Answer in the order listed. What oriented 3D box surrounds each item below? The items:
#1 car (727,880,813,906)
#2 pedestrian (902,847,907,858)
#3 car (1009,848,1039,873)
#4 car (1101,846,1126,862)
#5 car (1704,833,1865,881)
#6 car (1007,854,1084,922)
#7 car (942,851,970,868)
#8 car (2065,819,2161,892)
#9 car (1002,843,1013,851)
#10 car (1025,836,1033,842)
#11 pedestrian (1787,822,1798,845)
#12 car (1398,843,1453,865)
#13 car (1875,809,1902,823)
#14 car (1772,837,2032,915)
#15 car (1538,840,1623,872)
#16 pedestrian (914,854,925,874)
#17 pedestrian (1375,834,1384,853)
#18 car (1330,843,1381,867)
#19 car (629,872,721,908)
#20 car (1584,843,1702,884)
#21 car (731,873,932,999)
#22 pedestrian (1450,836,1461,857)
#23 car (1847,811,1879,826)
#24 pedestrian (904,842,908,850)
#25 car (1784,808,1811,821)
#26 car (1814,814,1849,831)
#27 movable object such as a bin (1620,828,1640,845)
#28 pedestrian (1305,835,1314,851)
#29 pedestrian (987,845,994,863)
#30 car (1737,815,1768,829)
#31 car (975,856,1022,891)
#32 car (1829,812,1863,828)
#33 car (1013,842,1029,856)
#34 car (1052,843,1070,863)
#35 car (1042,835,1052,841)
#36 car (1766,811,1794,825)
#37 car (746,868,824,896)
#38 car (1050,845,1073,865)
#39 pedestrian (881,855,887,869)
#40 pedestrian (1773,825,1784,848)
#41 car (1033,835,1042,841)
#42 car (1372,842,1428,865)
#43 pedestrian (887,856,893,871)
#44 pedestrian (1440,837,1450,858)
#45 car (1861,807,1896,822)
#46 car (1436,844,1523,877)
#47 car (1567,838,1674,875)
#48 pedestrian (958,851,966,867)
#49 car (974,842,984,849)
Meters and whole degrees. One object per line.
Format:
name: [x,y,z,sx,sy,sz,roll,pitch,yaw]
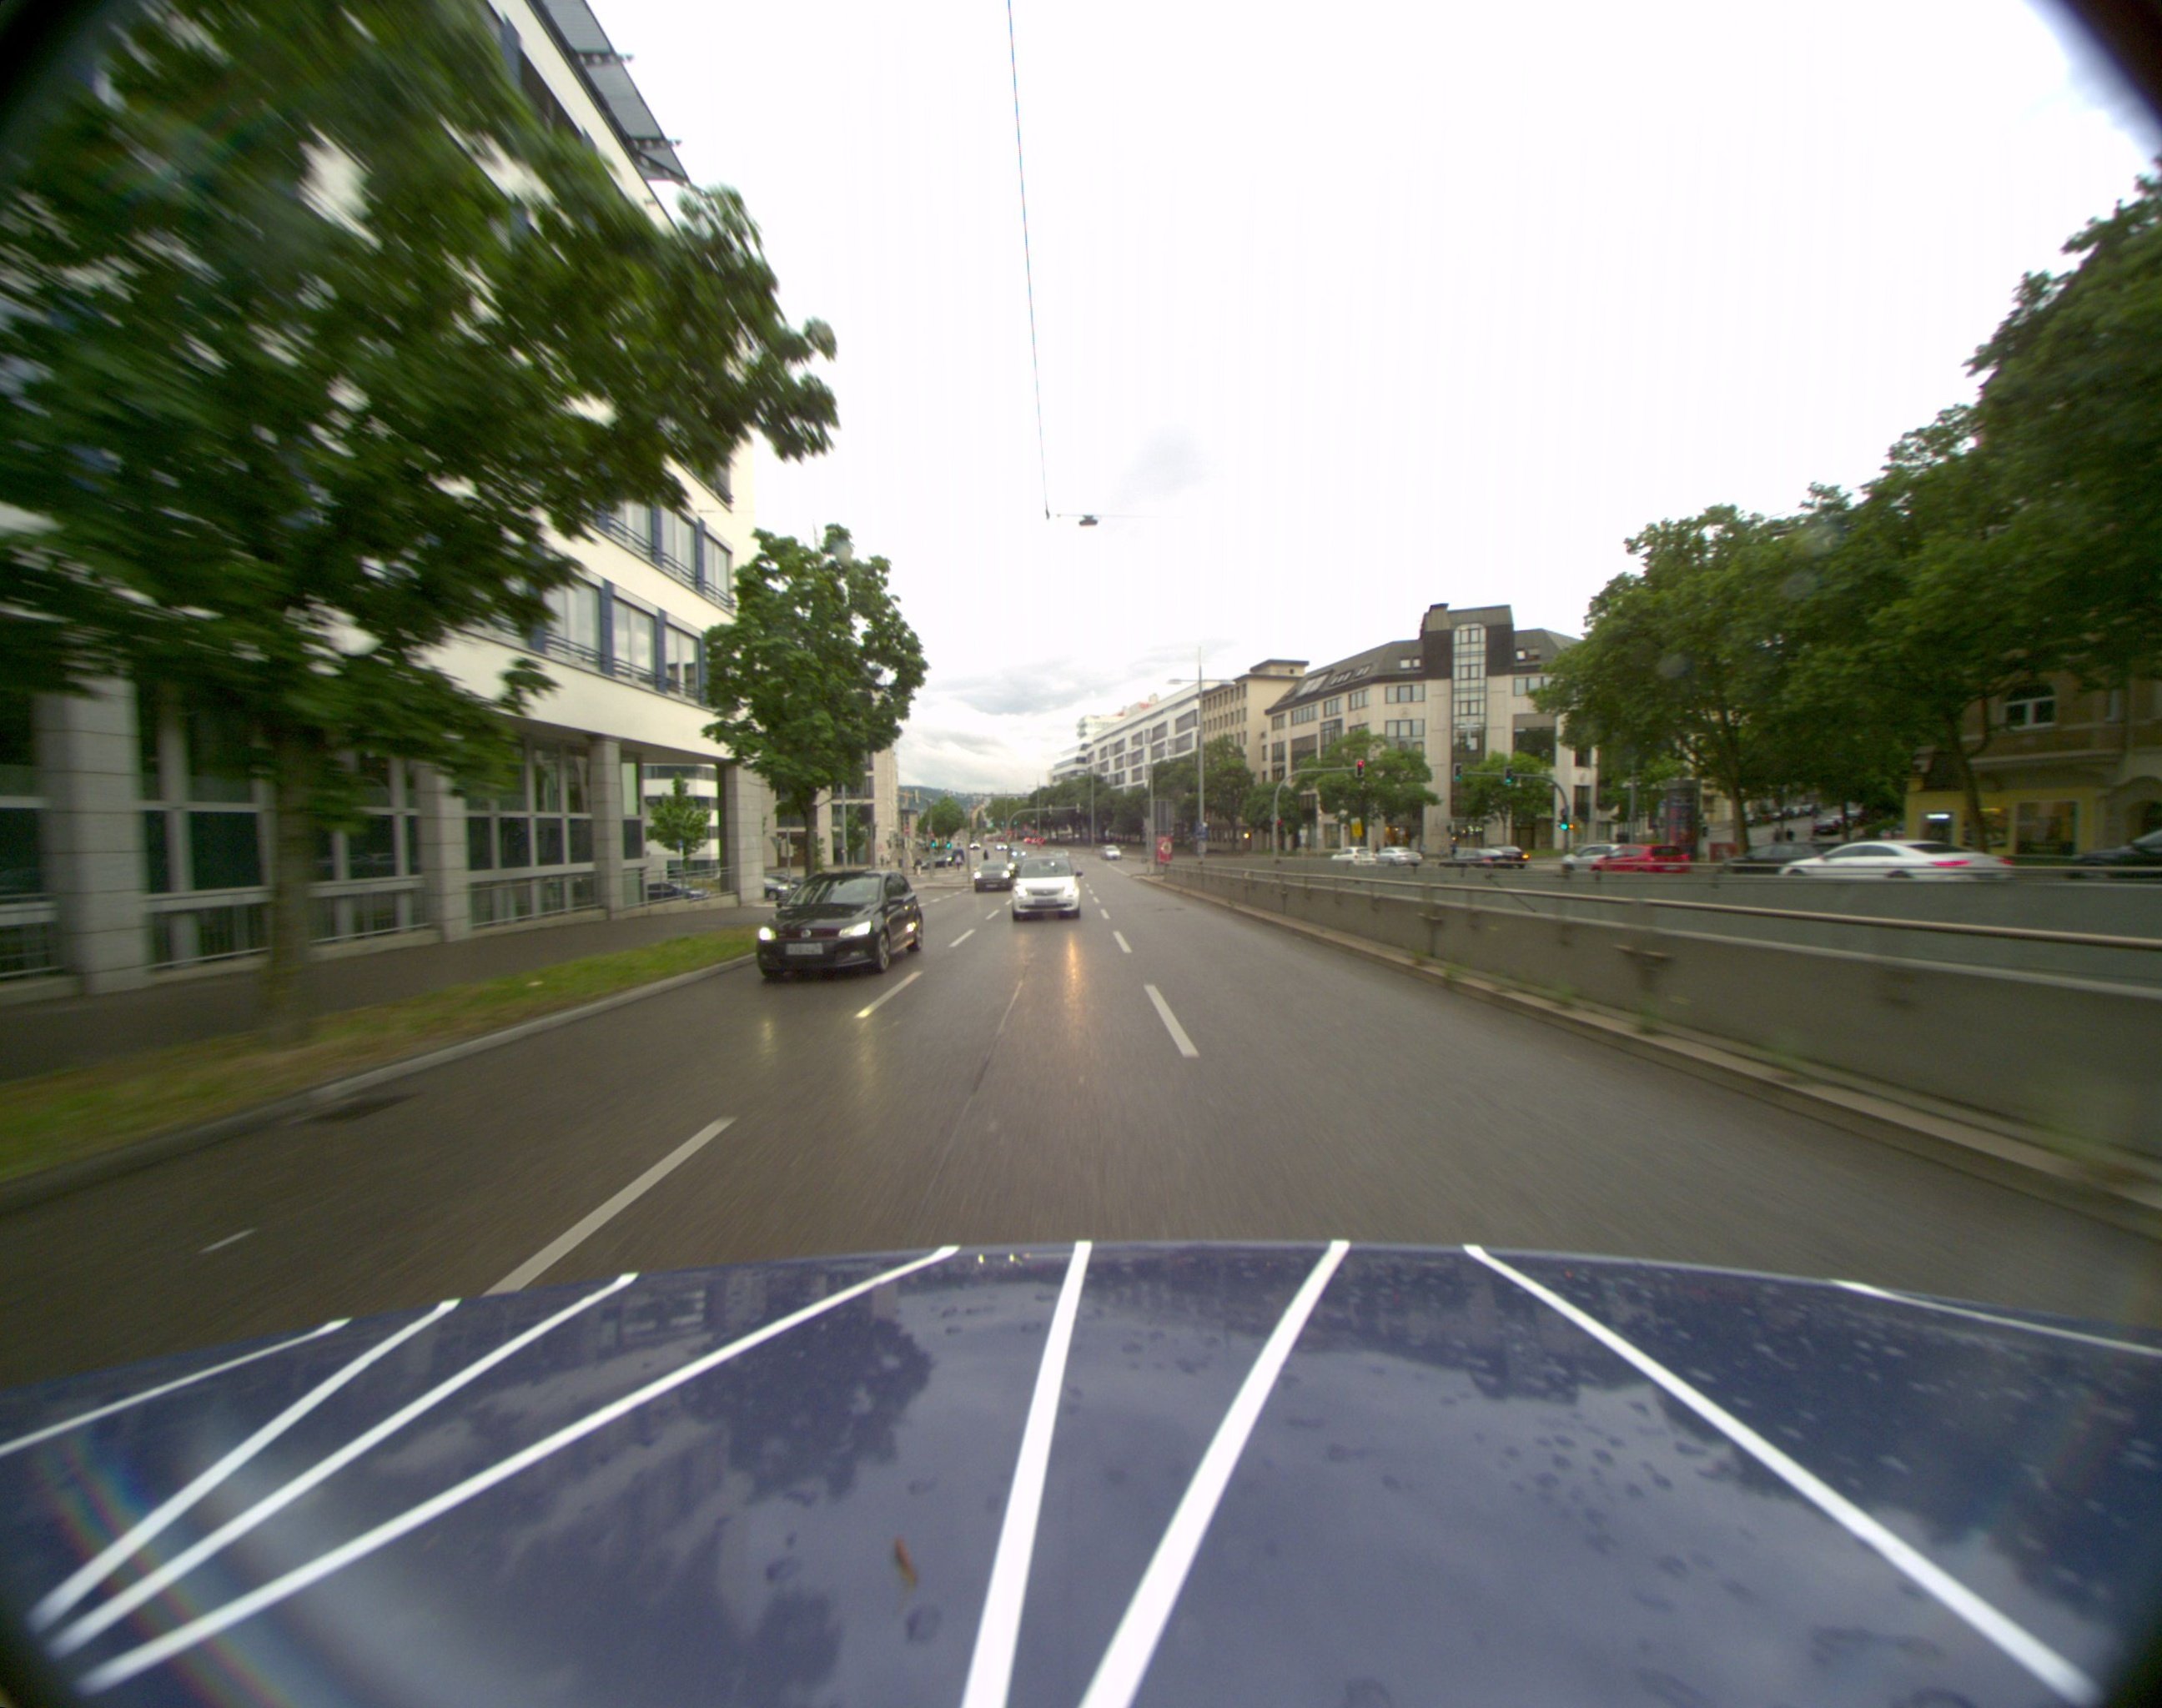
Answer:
car: [-18.590,2.339,45.409,4.477,1.382,1.858,-1,2,15]
pedestrian: [-24.283,-0.244,104.580,0.588,1.469,0.603,-3,2,-22]
car: [-4.232,0.462,56.967,1.798,1.657,3.999,-3,1,1]
car: [3.745,0.005,88.180,1.800,1.733,3.995,-3,1,-13]
car: [24.176,0.066,26.343,1.799,1.502,3.998,-2,1,-3]
car: [-0.845,0.810,20.051,1.799,1.528,3.999,-1,1,0]
car: [-14.771,0.605,90.274,1.797,1.851,4.294,-2,1,11]
car: [24.151,0.000,15.947,1.798,1.570,4.017,-2,0,1]
car: [-14.875,-1.492,153.489,1.800,1.502,3.995,-3,1,-13]
car: [-15.639,-4.525,226.808,1.800,1.502,3.995,-3,1,-13]
pedestrian: [56.759,-1.601,60.620,0.632,1.799,0.675,-1,2,42]
car: [24.792,-0.032,54.829,1.800,1.502,3.996,0,1,-8]
car: [92.238,-4.367,86.823,3.497,1.454,1.606,-3,2,-35]
car: [21.090,0.459,19.900,1.798,1.760,4.731,-1,1,2]
car: [26.657,0.066,40.705,1.799,1.502,3.941,-3,1,-3]
pedestrian: [-12.986,0.800,61.064,0.707,1.615,0.644,-2,2,1]
pedestrian: [29.729,-1.044,75.757,0.604,1.774,0.525,-3,2,-8]
car: [19.170,0.027,53.307,1.799,1.552,3.997,-2,1,-6]
car: [-25.112,2.214,47.102,4.482,1.660,1.855,-4,5,1]
car: [21.138,0.315,28.766,1.588,1.393,3.879,-1,1,0]
car: [-3.520,1.084,11.506,1.678,1.392,3.848,-2,1,1]
pedestrian: [32.390,-0.638,65.691,0.590,1.799,0.674,-2,2,6]
car: [82.472,-3.785,80.116,3.497,1.454,1.606,-3,2,-32]
pedestrian: [-32.208,-1.447,139.744,0.588,1.469,0.603,-3,2,-13]
car: [91.093,-5.077,96.599,4.006,1.502,1.795,-4,2,-36]
car: [71.321,-3.025,72.166,3.497,1.454,1.606,-3,2,-32]
movable object such as a bin: [50.997,-1.635,70.642,1.352,1.499,1.071,-1,1,29]
pedestrian: [26.255,-1.276,87.281,0.835,1.774,0.615,-3,2,-8]
pedestrian: [-9.688,-0.005,81.105,0.604,1.792,0.587,-3,2,-8]
car: [77.264,-3.673,87.381,4.006,1.502,1.795,-4,2,-36]
car: [-3.938,0.903,36.727,1.751,1.433,3.706,-3,1,1]
car: [75.613,-3.372,75.084,3.497,1.454,1.606,-3,2,-32]
car: [-8.743,-0.734,109.814,1.800,1.934,3.995,-3,1,-11]
car: [-2.230,-0.150,85.018,1.799,2.021,3.999,-3,1,-1]
car: [-9.208,-4.284,205.494,1.800,1.502,3.995,-3,1,-13]
car: [86.014,-4.401,93.483,4.006,1.502,1.795,-4,2,-36]
car: [-20.145,1.894,51.816,4.483,1.383,1.855,-5,3,-3]
car: [-1.698,0.077,67.453,1.798,1.657,3.999,-3,1,1]
pedestrian: [-22.779,0.881,87.905,0.588,1.600,0.603,-3,2,-14]
pedestrian: [56.187,-1.379,61.194,0.632,1.799,0.675,-1,2,42]
car: [-12.254,-4.401,212.008,1.800,1.502,3.995,-3,1,-13]
car: [22.264,-0.034,53.179,1.800,1.502,3.996,-2,1,-8]
pedestrian: [-22.089,1.100,87.879,0.588,1.600,0.603,-3,2,-14]
pedestrian: [31.567,-0.604,65.884,0.590,1.799,0.674,-2,2,6]
car: [86.673,-4.305,82.568,4.006,1.502,1.796,-3,2,-32]
car: [20.310,0.270,38.983,1.799,1.549,4.833,-2,1,-3]
car: [23.851,0.087,33.791,1.799,1.502,3.998,-2,1,-3]
pedestrian: [-11.137,0.466,71.178,0.588,1.469,0.603,-3,2,-22]
car: [-22.028,-1.852,164.003,1.800,1.502,3.995,-3,1,-13]
